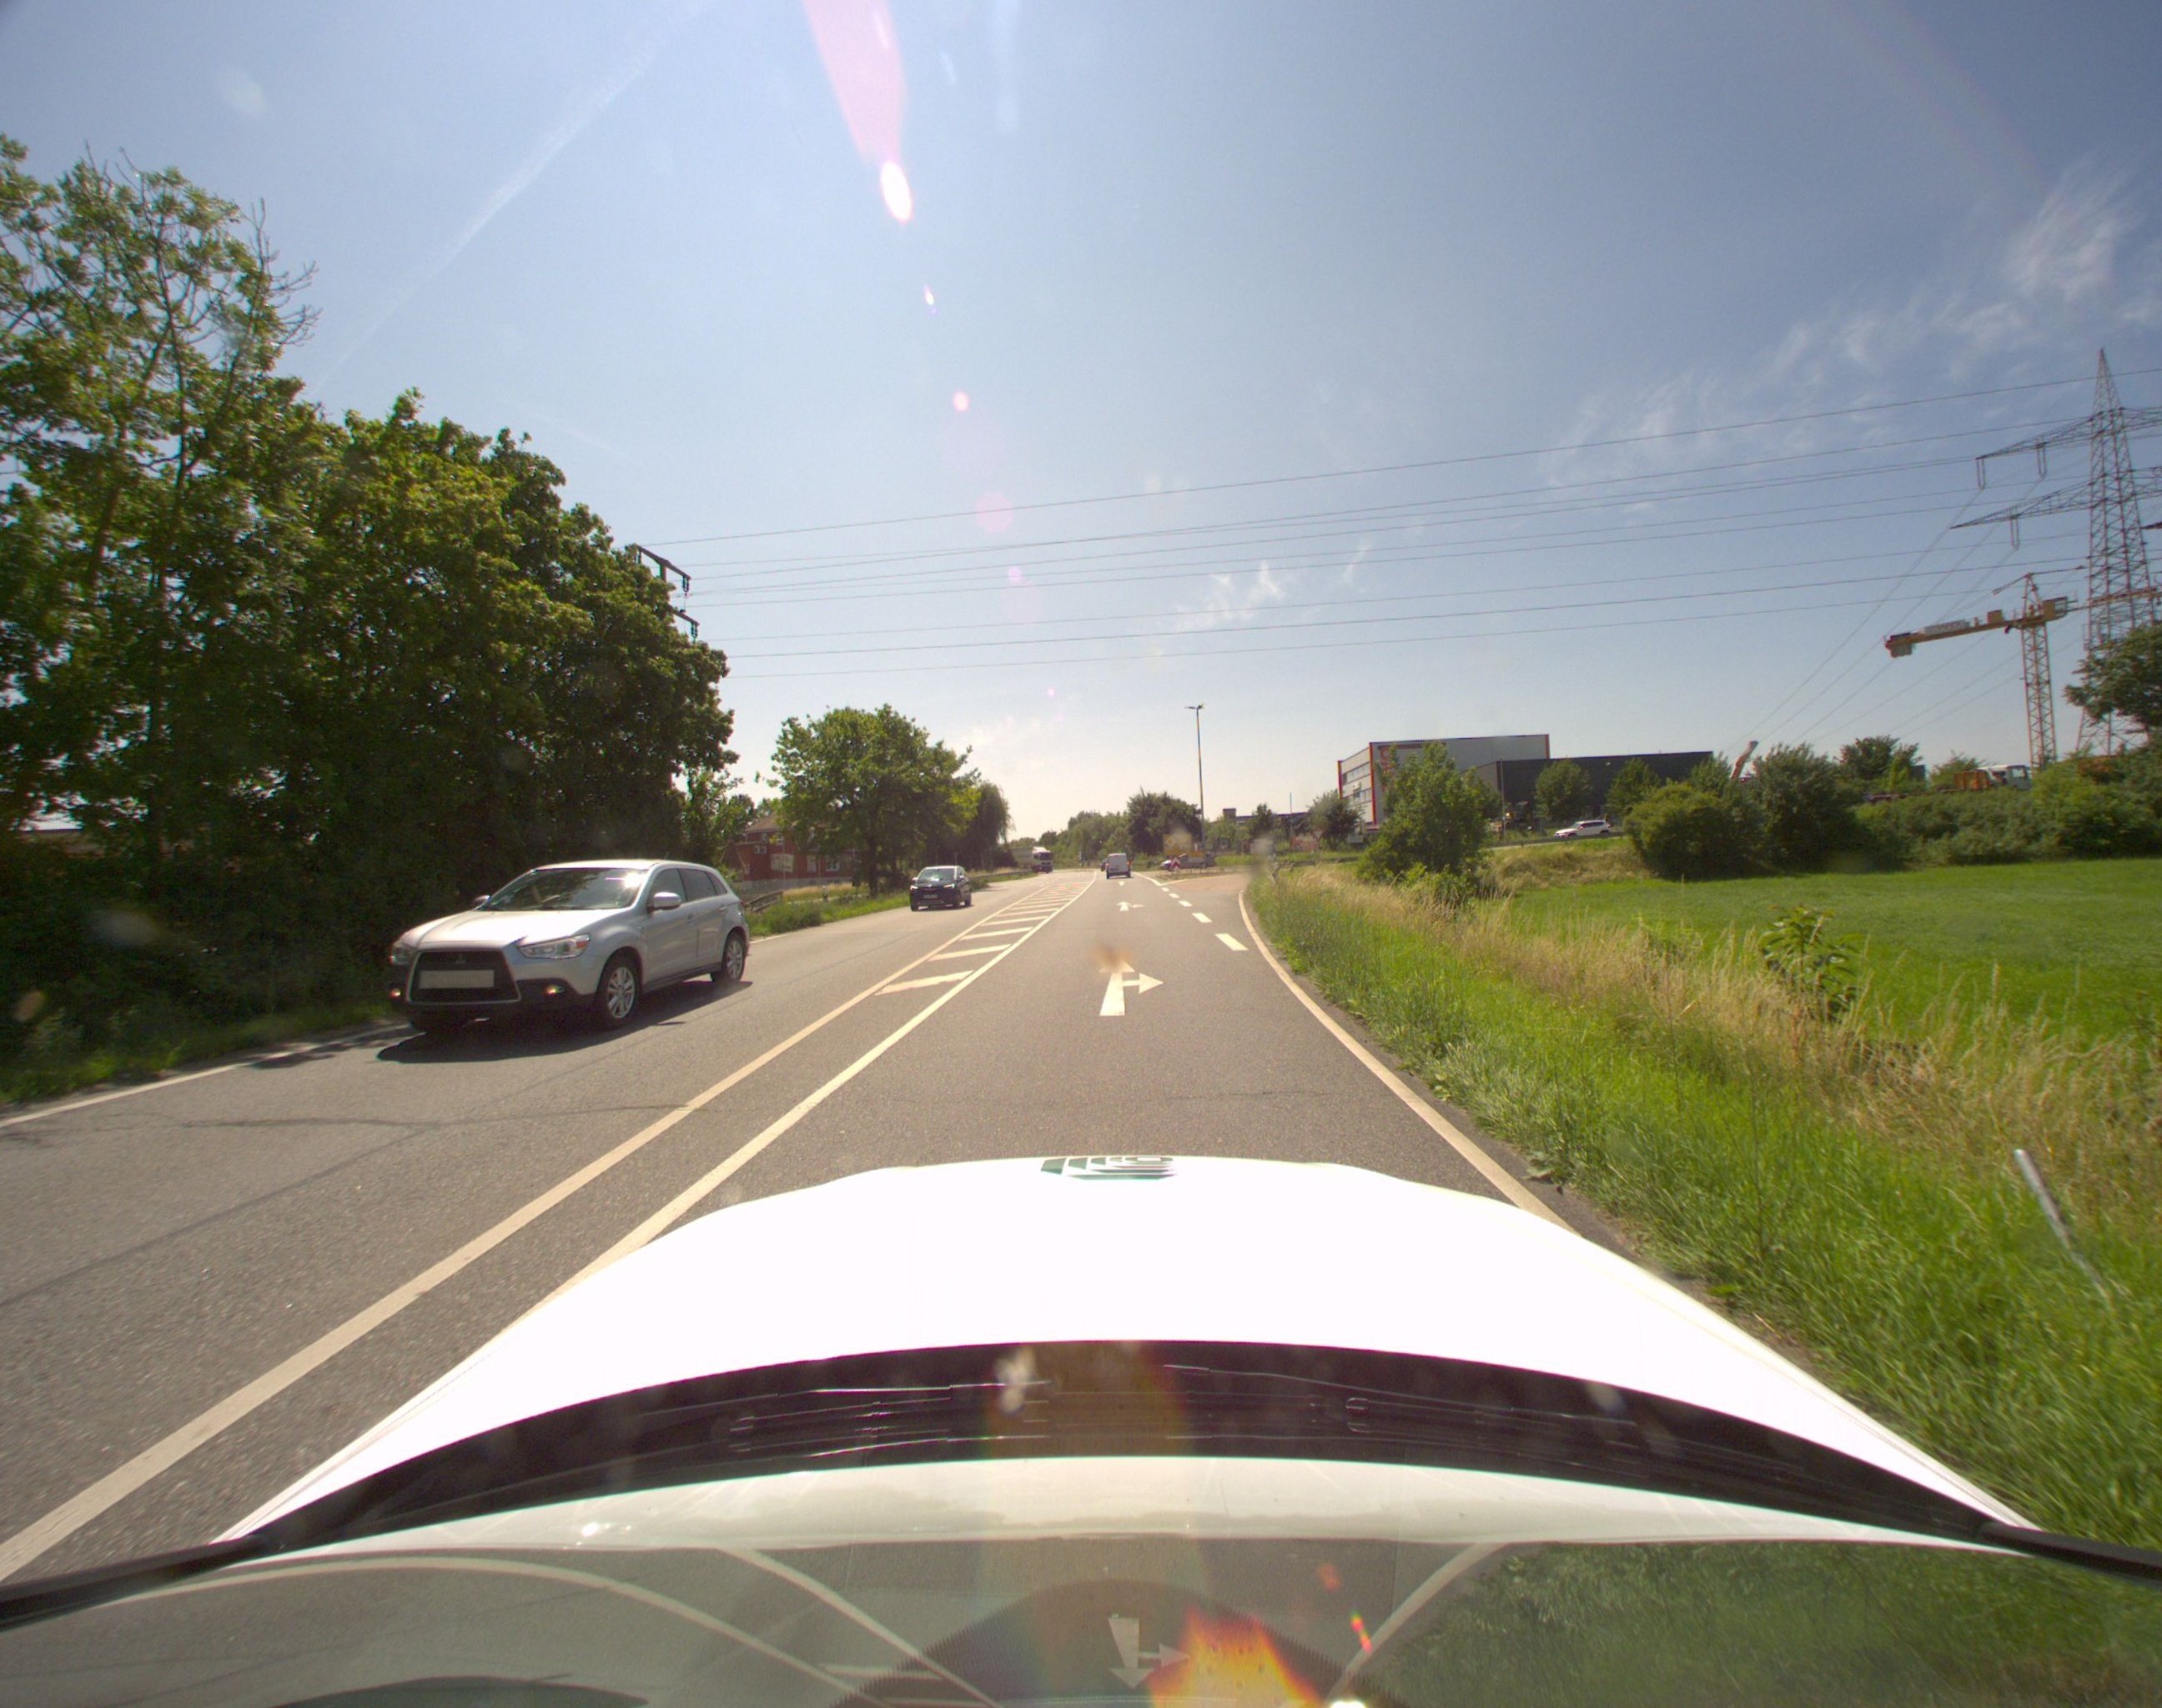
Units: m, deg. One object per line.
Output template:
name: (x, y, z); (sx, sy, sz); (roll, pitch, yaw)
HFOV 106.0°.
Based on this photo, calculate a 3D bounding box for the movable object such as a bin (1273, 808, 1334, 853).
movable object such as a bin: (27.656, -2.874, 101.489); (6.561, 5.148, 3.810); (-1, -2, 4)

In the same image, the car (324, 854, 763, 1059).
car: (-5.105, 0.819, 8.671); (1.736, 1.589, 4.527); (0, 0, -2)

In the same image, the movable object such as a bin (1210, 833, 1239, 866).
movable object such as a bin: (15.587, -0.432, 88.806); (2.314, 3.250, 5.102); (-1, -2, 1)

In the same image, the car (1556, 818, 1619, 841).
car: (42.306, -2.073, 68.124); (4.067, 1.621, 1.761); (-4, 1, 4)

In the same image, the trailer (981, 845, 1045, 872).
trailer: (-10.821, 0.755, 127.471); (2.813, 4.056, 13.346); (-1, 0, -39)

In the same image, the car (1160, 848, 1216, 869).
car: (8.964, 0.383, 68.654); (4.494, 1.508, 1.915); (-4, 0, 2)

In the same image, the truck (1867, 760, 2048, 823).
truck: (66.078, -4.667, 61.607); (9.629, 4.183, 3.318); (-1, -2, 3)

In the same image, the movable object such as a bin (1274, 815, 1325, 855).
movable object such as a bin: (24.899, -2.104, 93.026); (5.062, 4.275, 2.837); (-1, -2, 4)

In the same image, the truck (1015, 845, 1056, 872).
truck: (-6.947, 0.684, 122.569); (2.812, 4.056, 6.677); (-1, 0, -37)

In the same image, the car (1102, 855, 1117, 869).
car: (3.622, 1.031, 104.860); (1.799, 1.556, 4.001); (-3, 1, 1)

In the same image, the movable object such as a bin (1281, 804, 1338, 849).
movable object such as a bin: (27.303, -3.258, 97.605); (5.892, 5.106, 3.112); (-1, -2, 4)

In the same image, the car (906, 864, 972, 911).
car: (-5.160, 1.173, 30.028); (1.727, 1.590, 3.956); (-1, -1, -1)

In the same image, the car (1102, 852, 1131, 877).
car: (2.541, 0.761, 59.871); (1.898, 1.732, 3.821); (-2, -1, 0)

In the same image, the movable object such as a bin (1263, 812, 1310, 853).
movable object such as a bin: (27.797, -2.827, 110.453); (5.690, 5.270, 3.224); (-1, -2, 4)
